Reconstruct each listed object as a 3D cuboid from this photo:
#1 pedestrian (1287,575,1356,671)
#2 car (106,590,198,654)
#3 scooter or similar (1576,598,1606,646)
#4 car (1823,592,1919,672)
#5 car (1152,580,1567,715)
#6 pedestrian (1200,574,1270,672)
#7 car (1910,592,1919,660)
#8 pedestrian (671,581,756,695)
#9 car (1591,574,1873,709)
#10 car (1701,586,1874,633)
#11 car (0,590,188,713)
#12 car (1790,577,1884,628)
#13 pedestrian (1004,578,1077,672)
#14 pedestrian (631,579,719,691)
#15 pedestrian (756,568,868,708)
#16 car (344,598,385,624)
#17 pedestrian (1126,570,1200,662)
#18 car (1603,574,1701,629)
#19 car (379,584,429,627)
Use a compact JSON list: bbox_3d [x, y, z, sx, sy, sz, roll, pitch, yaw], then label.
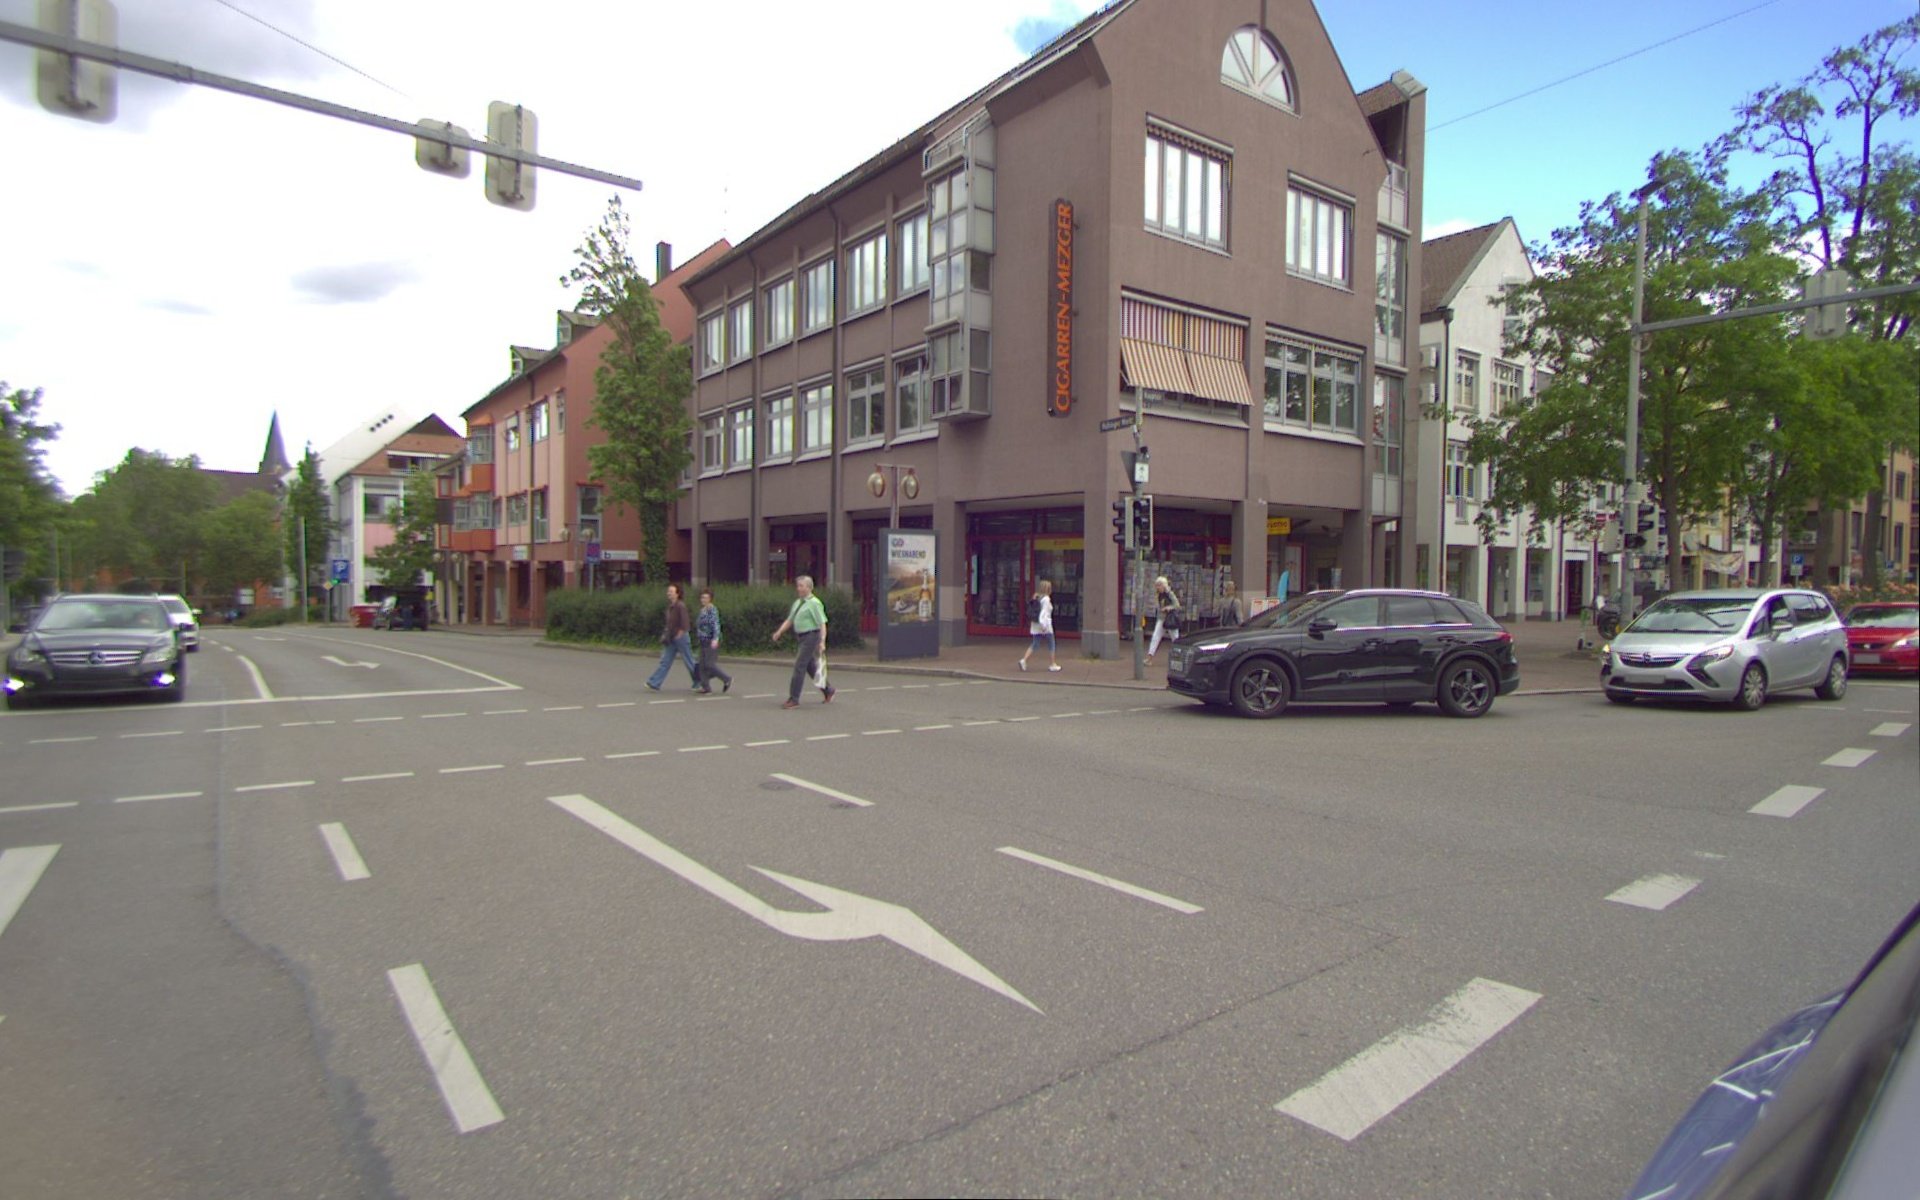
[{"bbox_3d":[6.453,0.387,18.071,0.936,1.646,0.743,0,2,-39],"label":"pedestrian"},{"bbox_3d":[-21.095,0.508,26.511,1.768,1.506,4.569,0,1,-38],"label":"car"},{"bbox_3d":[15.755,0.524,25.259,0.469,1.101,1.863,2,2,36],"label":"scooter or similar"},{"bbox_3d":[18.673,0.577,20.029,3.573,1.467,1.631,0,0,-36],"label":"car"},{"bbox_3d":[5.139,0.570,13.412,4.764,1.629,1.859,0,0,-5],"label":"car"},{"bbox_3d":[4.804,0.380,17.662,0.936,1.646,0.743,0,2,-39],"label":"pedestrian"},{"bbox_3d":[23.987,0.578,23.795,3.927,1.549,1.801,0,0,-38],"label":"car"},{"bbox_3d":[-3.566,0.513,14.638,0.951,1.578,0.832,0,1,-37],"label":"pedestrian"},{"bbox_3d":[11.322,0.516,14.783,4.293,1.722,1.747,0,0,-30],"label":"car"},{"bbox_3d":[30.611,0.306,37.572,1.707,1.471,4.654,0,3,-36],"label":"car"},{"bbox_3d":[-11.875,0.583,14.081,1.768,1.422,4.183,0,1,-38],"label":"car"},{"bbox_3d":[35.587,0.054,41.031,4.668,1.899,1.999,-1,3,-39],"label":"car"},{"bbox_3d":[1.435,0.421,18.096,1.020,1.615,0.824,0,1,-37],"label":"pedestrian"},{"bbox_3d":[-4.298,0.490,15.252,1.040,1.604,0.832,0,1,-39],"label":"pedestrian"},{"bbox_3d":[-1.956,0.453,13.313,1.089,1.737,1.059,0,1,-37],"label":"pedestrian"},{"bbox_3d":[-33.589,0.623,57.054,1.693,1.412,3.740,2,-1,-35],"label":"car"},{"bbox_3d":[3.743,0.273,18.677,1.073,1.646,0.810,0,2,-38],"label":"pedestrian"},{"bbox_3d":[25.186,0.021,36.783,4.184,1.826,1.739,-1,2,-38],"label":"car"},{"bbox_3d":[-27.423,0.275,49.868,1.693,2.039,3.740,2,-2,-35],"label":"car"}]
